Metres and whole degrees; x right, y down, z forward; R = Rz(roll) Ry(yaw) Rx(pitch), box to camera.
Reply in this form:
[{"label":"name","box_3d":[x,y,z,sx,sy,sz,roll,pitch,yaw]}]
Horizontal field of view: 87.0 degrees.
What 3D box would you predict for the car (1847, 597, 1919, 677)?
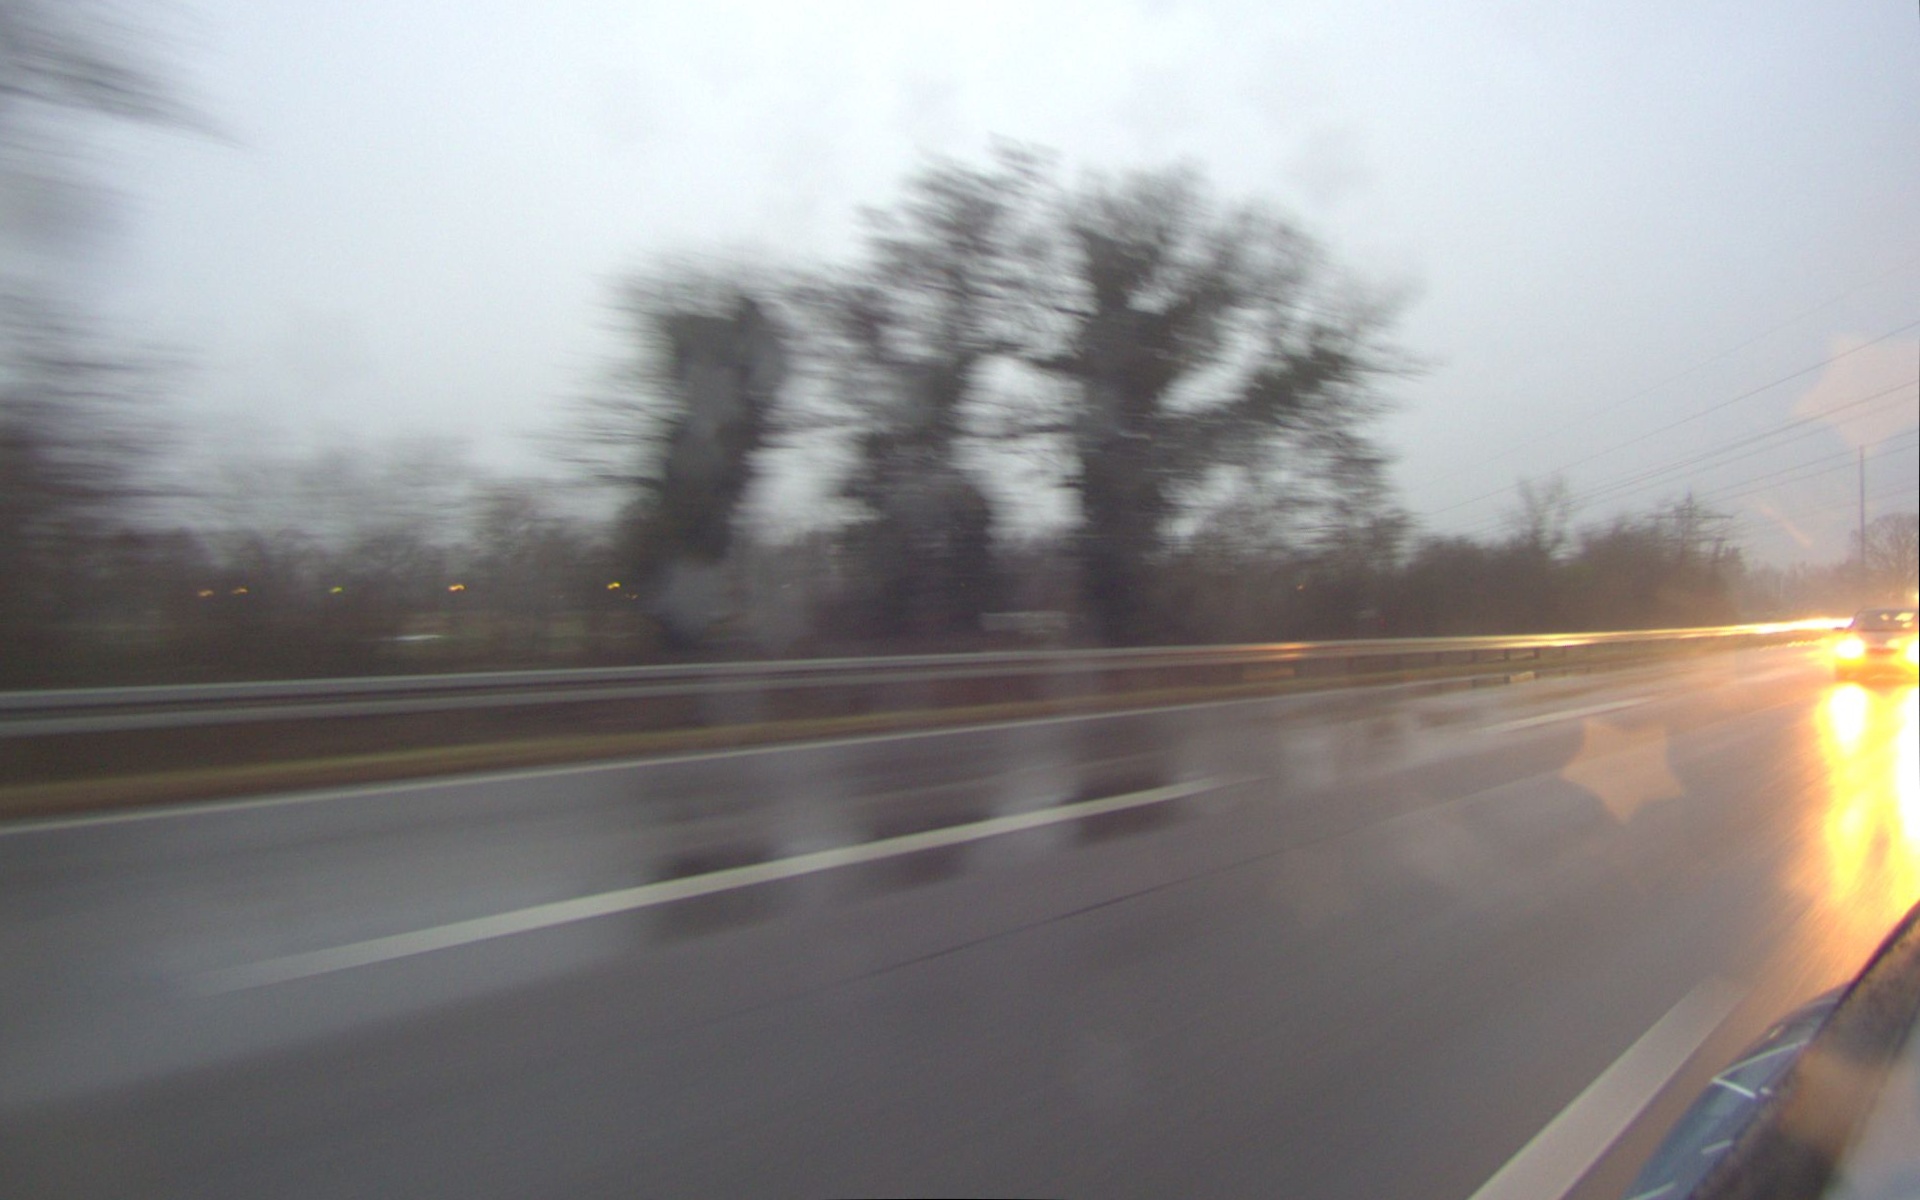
[{"label":"car","box_3d":[19.419,0.705,20.574,3.531,1.510,1.597,0,-1,-41]}]
